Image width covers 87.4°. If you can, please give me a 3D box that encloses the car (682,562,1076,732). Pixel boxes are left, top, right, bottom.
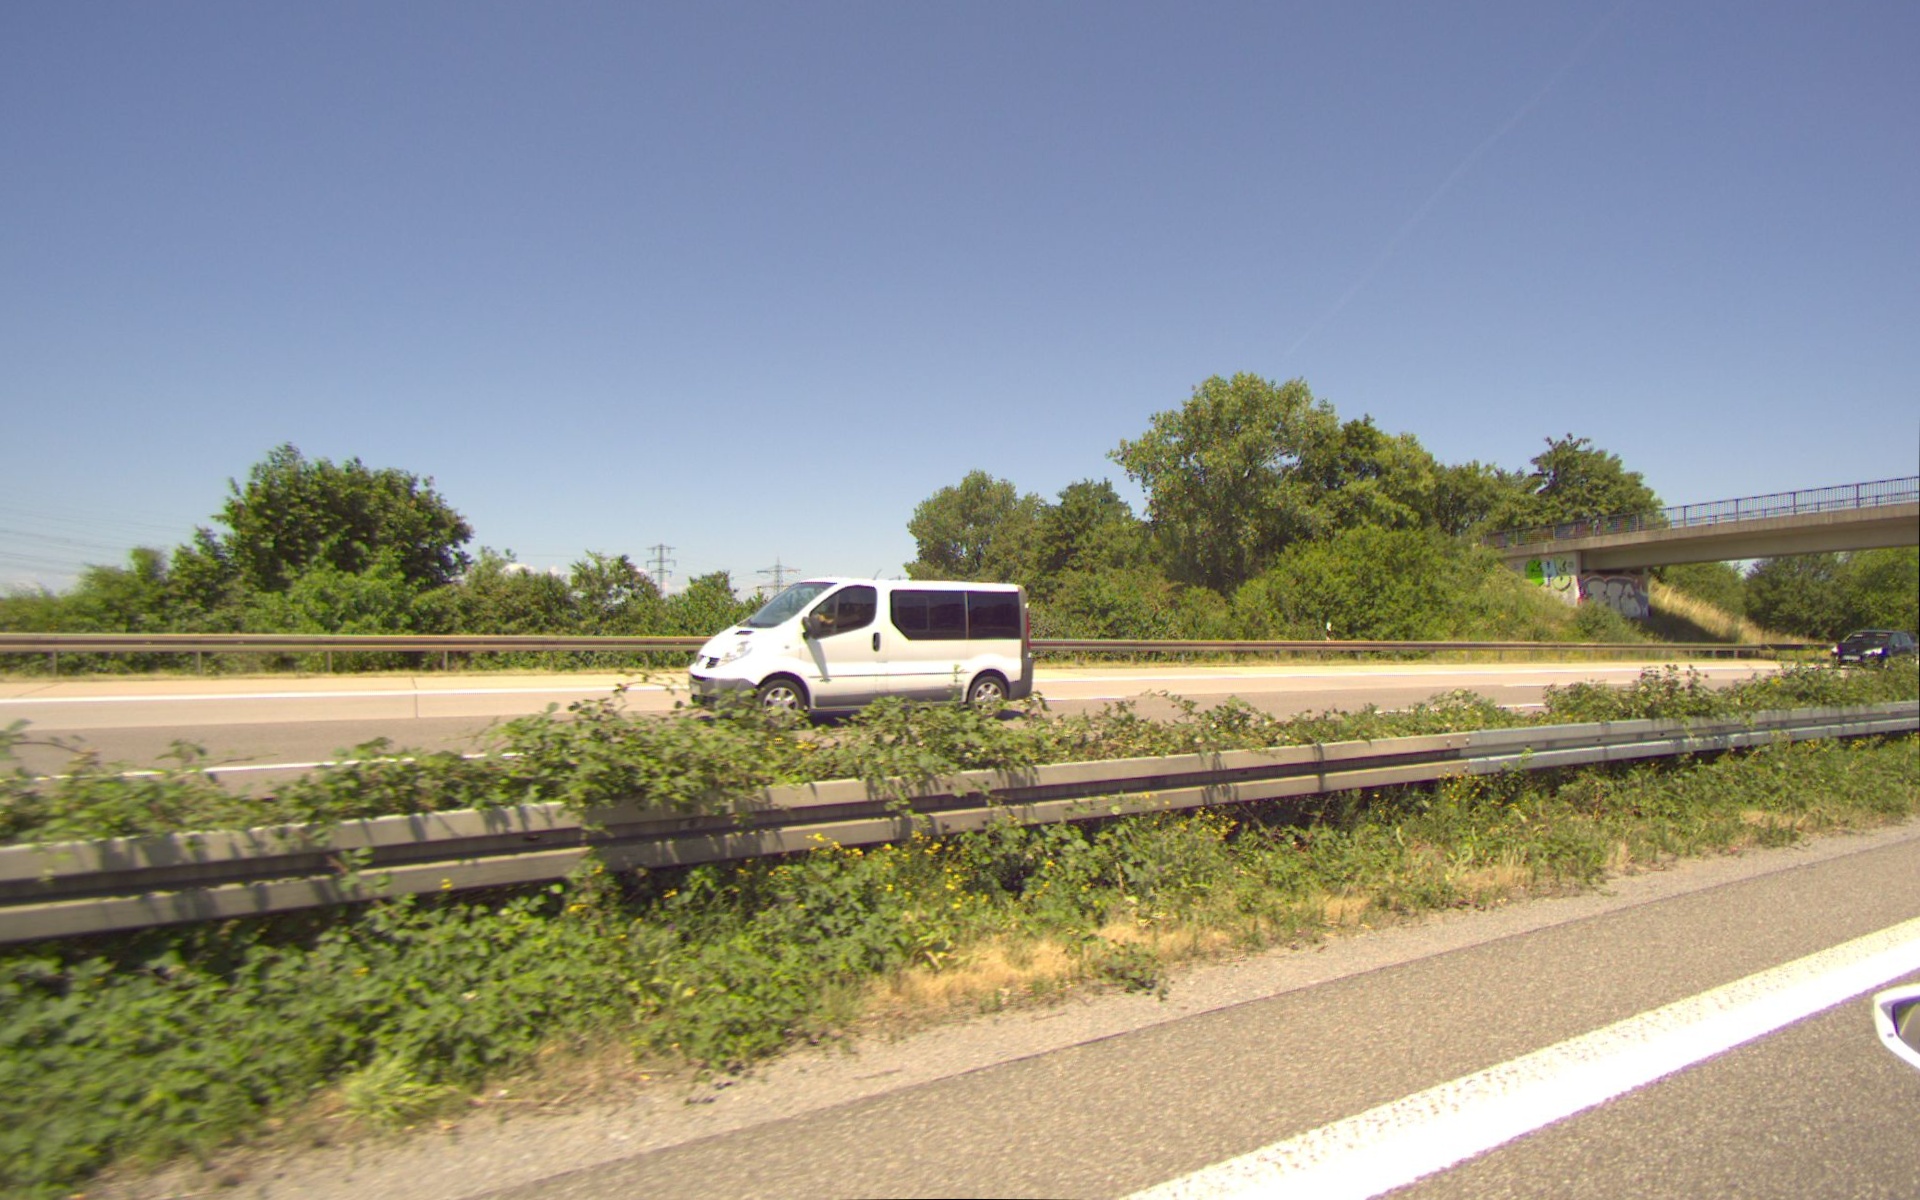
[{"bbox_3d":[-1.042,0.621,14.179,5.268,2.040,1.819,2,0,-30],"label":"car"}]

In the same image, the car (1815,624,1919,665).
[{"bbox_3d":[35.987,1.742,39.704,4.263,1.481,1.821,2,0,-27],"label":"car"}]
